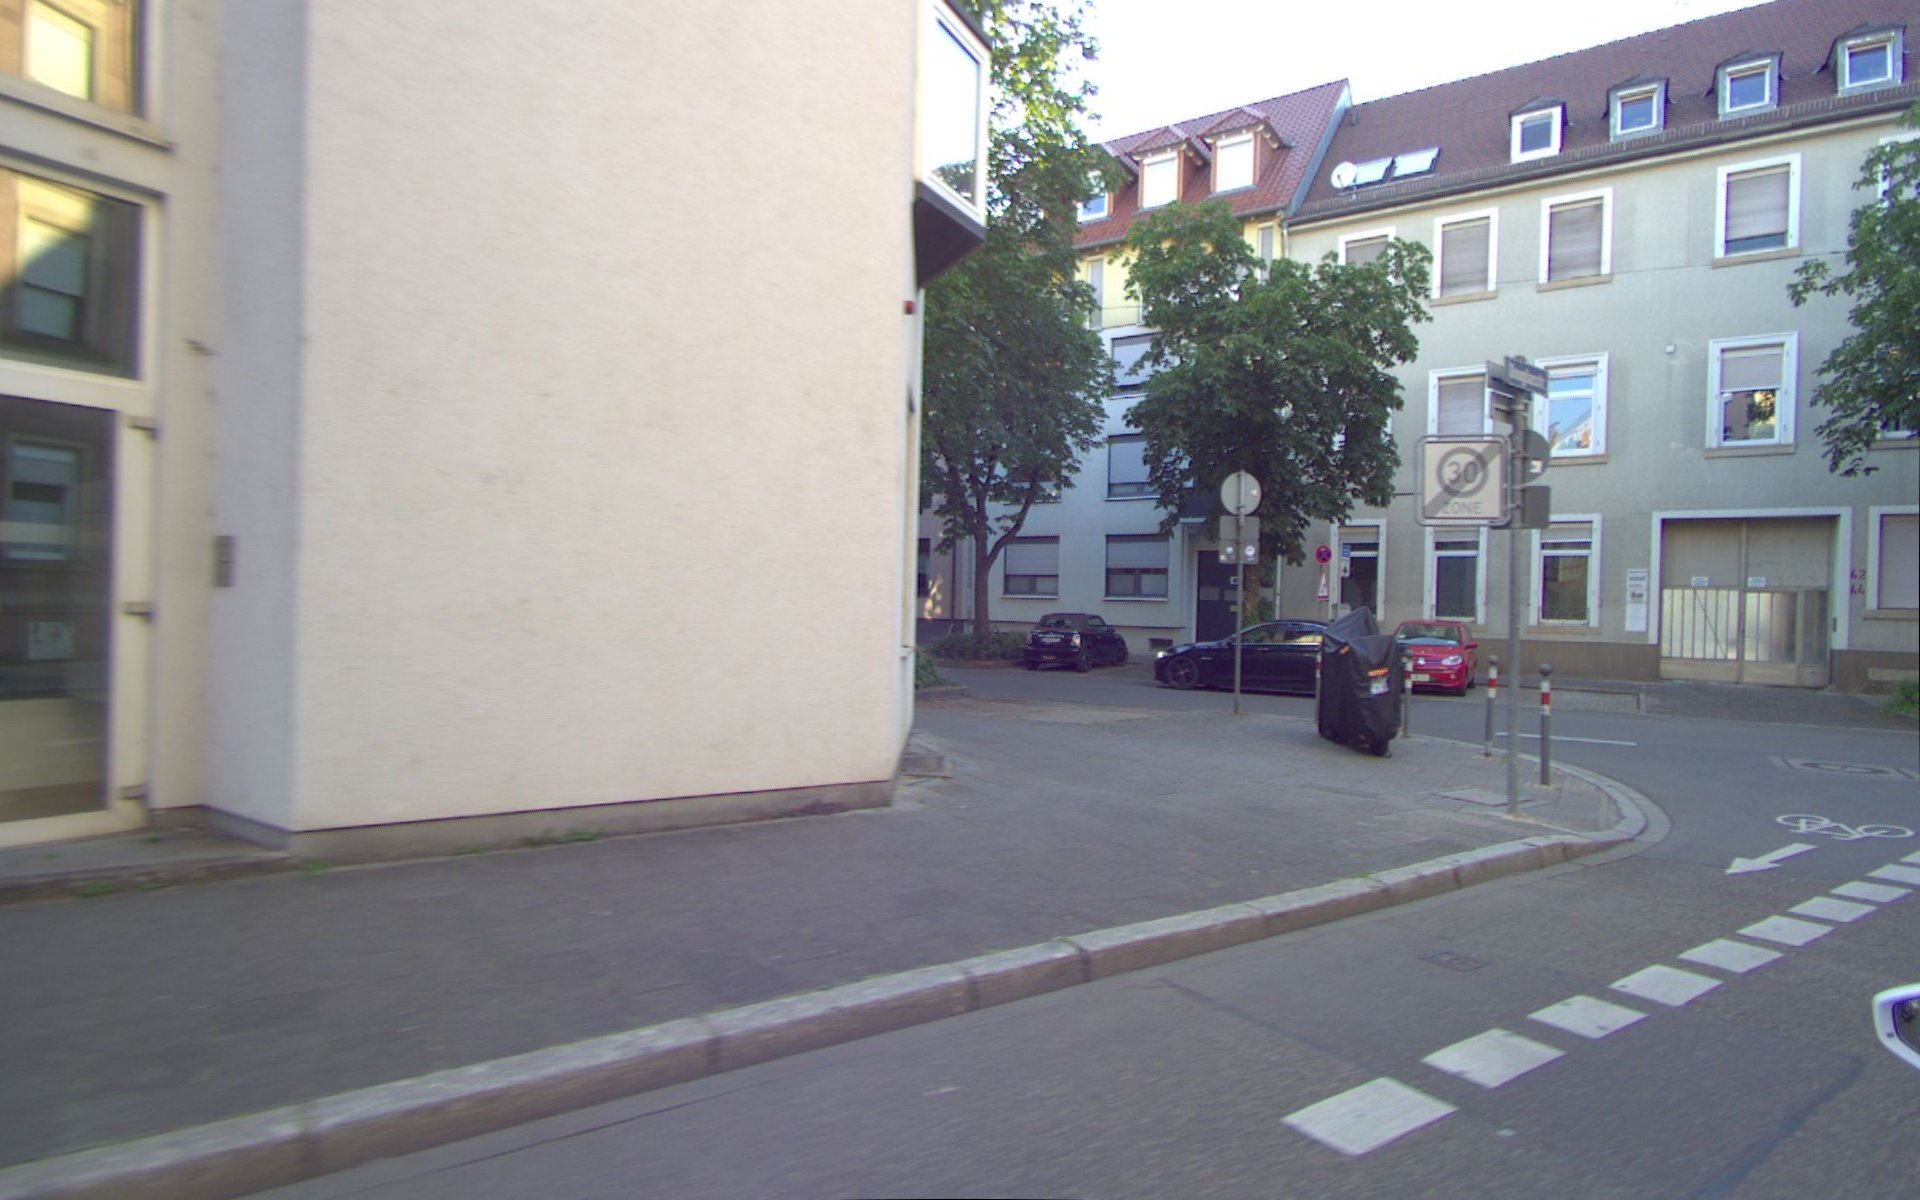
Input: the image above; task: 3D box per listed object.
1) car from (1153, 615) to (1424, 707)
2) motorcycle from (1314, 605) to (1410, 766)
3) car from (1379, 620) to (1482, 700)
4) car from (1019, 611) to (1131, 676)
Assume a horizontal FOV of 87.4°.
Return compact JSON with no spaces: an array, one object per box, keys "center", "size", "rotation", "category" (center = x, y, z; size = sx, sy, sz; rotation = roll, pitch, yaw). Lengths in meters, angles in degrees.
[{"center":[6.181,1.082,19.076],"size":[4.586,1.469,1.764],"rotation":[1,-1,31],"category":"car"},{"center":[4.370,0.870,11.066],"size":[0.656,1.576,2.163],"rotation":[1,-1,14],"category":"motorcycle"},{"center":[10.063,1.196,21.354],"size":[1.538,1.495,3.659],"rotation":[1,0,32],"category":"car"},{"center":[3.054,1.064,26.130],"size":[1.598,1.447,3.708],"rotation":[1,1,29],"category":"car"}]
